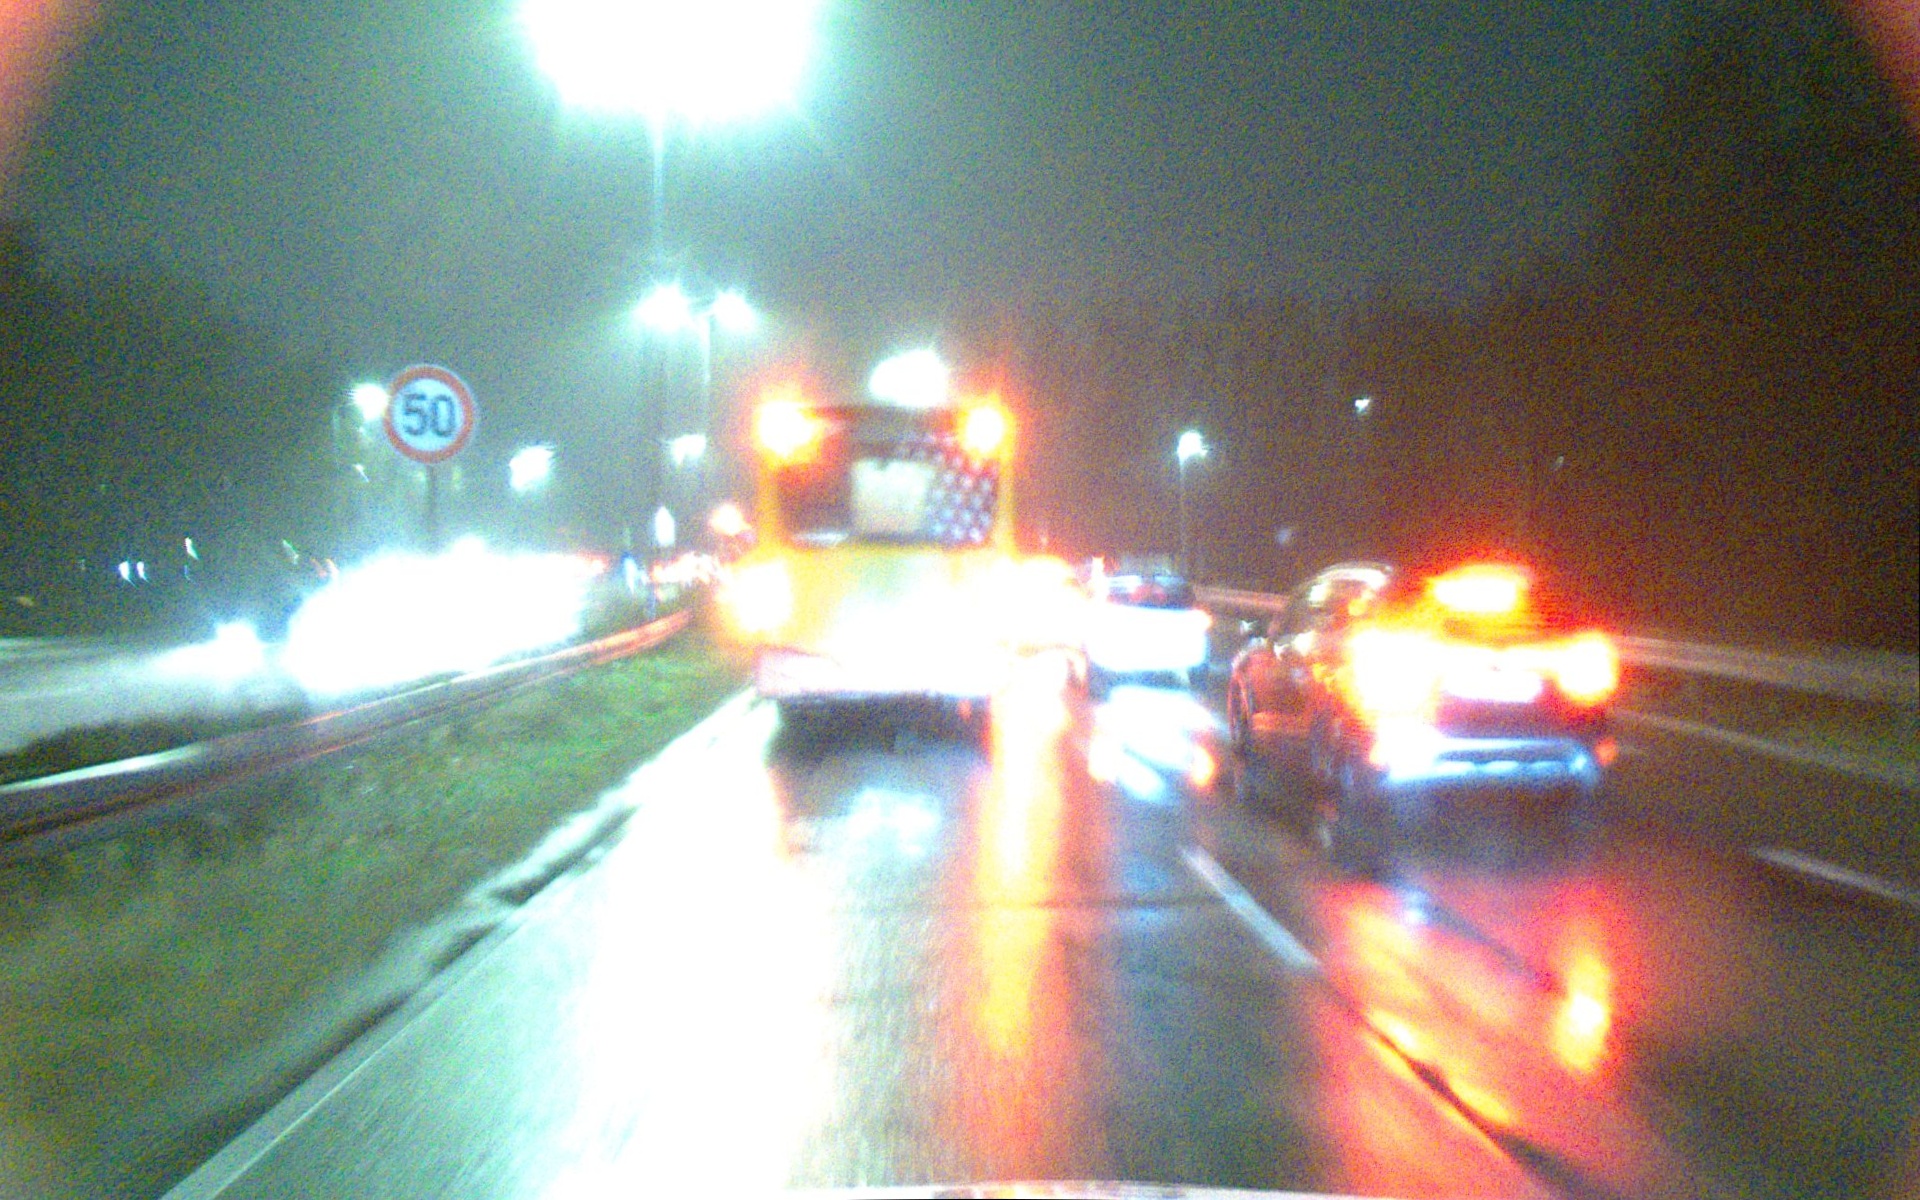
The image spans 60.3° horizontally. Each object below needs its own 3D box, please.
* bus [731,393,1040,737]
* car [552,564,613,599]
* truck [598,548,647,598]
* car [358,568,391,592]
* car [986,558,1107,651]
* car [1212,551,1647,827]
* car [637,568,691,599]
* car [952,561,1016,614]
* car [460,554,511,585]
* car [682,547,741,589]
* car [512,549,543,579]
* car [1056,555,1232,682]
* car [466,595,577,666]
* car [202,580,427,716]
[{"bbox_3d":[-0.886,-0.369,19.224,2.759,3.076,8.682,0,1,-3],"label":"bus"},{"bbox_3d":[-23.142,-1.122,101.319,2.195,2.049,3.947,-1,1,-37],"label":"car"},{"bbox_3d":[-18.078,-1.484,88.445,1.829,2.434,4.751,-2,4,-21],"label":"truck"},{"bbox_3d":[-46.041,-1.597,130.076,1.970,1.715,3.967,2,2,-27],"label":"car"},{"bbox_3d":[1.561,0.043,31.163,1.784,1.618,3.773,-1,1,-4],"label":"car"},{"bbox_3d":[3.026,0.496,11.498,1.705,1.592,3.773,1,1,-4],"label":"car"},{"bbox_3d":[-16.376,-0.933,91.431,1.734,1.659,3.584,1,0,-32],"label":"car"},{"bbox_3d":[0.717,-0.398,51.942,1.744,1.570,3.873,1,1,-3],"label":"car"},{"bbox_3d":[-32.784,-2.100,114.133,1.981,2.049,3.943,1,0,-40],"label":"car"},{"bbox_3d":[-12.604,-1.603,83.747,1.968,2.049,3.969,1,0,-24],"label":"car"},{"bbox_3d":[-31.384,-2.578,120.172,2.085,2.049,3.985,1,0,-14],"label":"car"},{"bbox_3d":[2.503,0.204,23.325,1.784,1.618,3.773,-1,1,-4],"label":"car"},{"bbox_3d":[-10.531,0.684,40.004,1.782,1.418,4.456,-4,1,-6],"label":"car"},{"bbox_3d":[-8.994,0.598,23.400,1.774,1.595,3.996,-4,1,-5],"label":"car"}]
